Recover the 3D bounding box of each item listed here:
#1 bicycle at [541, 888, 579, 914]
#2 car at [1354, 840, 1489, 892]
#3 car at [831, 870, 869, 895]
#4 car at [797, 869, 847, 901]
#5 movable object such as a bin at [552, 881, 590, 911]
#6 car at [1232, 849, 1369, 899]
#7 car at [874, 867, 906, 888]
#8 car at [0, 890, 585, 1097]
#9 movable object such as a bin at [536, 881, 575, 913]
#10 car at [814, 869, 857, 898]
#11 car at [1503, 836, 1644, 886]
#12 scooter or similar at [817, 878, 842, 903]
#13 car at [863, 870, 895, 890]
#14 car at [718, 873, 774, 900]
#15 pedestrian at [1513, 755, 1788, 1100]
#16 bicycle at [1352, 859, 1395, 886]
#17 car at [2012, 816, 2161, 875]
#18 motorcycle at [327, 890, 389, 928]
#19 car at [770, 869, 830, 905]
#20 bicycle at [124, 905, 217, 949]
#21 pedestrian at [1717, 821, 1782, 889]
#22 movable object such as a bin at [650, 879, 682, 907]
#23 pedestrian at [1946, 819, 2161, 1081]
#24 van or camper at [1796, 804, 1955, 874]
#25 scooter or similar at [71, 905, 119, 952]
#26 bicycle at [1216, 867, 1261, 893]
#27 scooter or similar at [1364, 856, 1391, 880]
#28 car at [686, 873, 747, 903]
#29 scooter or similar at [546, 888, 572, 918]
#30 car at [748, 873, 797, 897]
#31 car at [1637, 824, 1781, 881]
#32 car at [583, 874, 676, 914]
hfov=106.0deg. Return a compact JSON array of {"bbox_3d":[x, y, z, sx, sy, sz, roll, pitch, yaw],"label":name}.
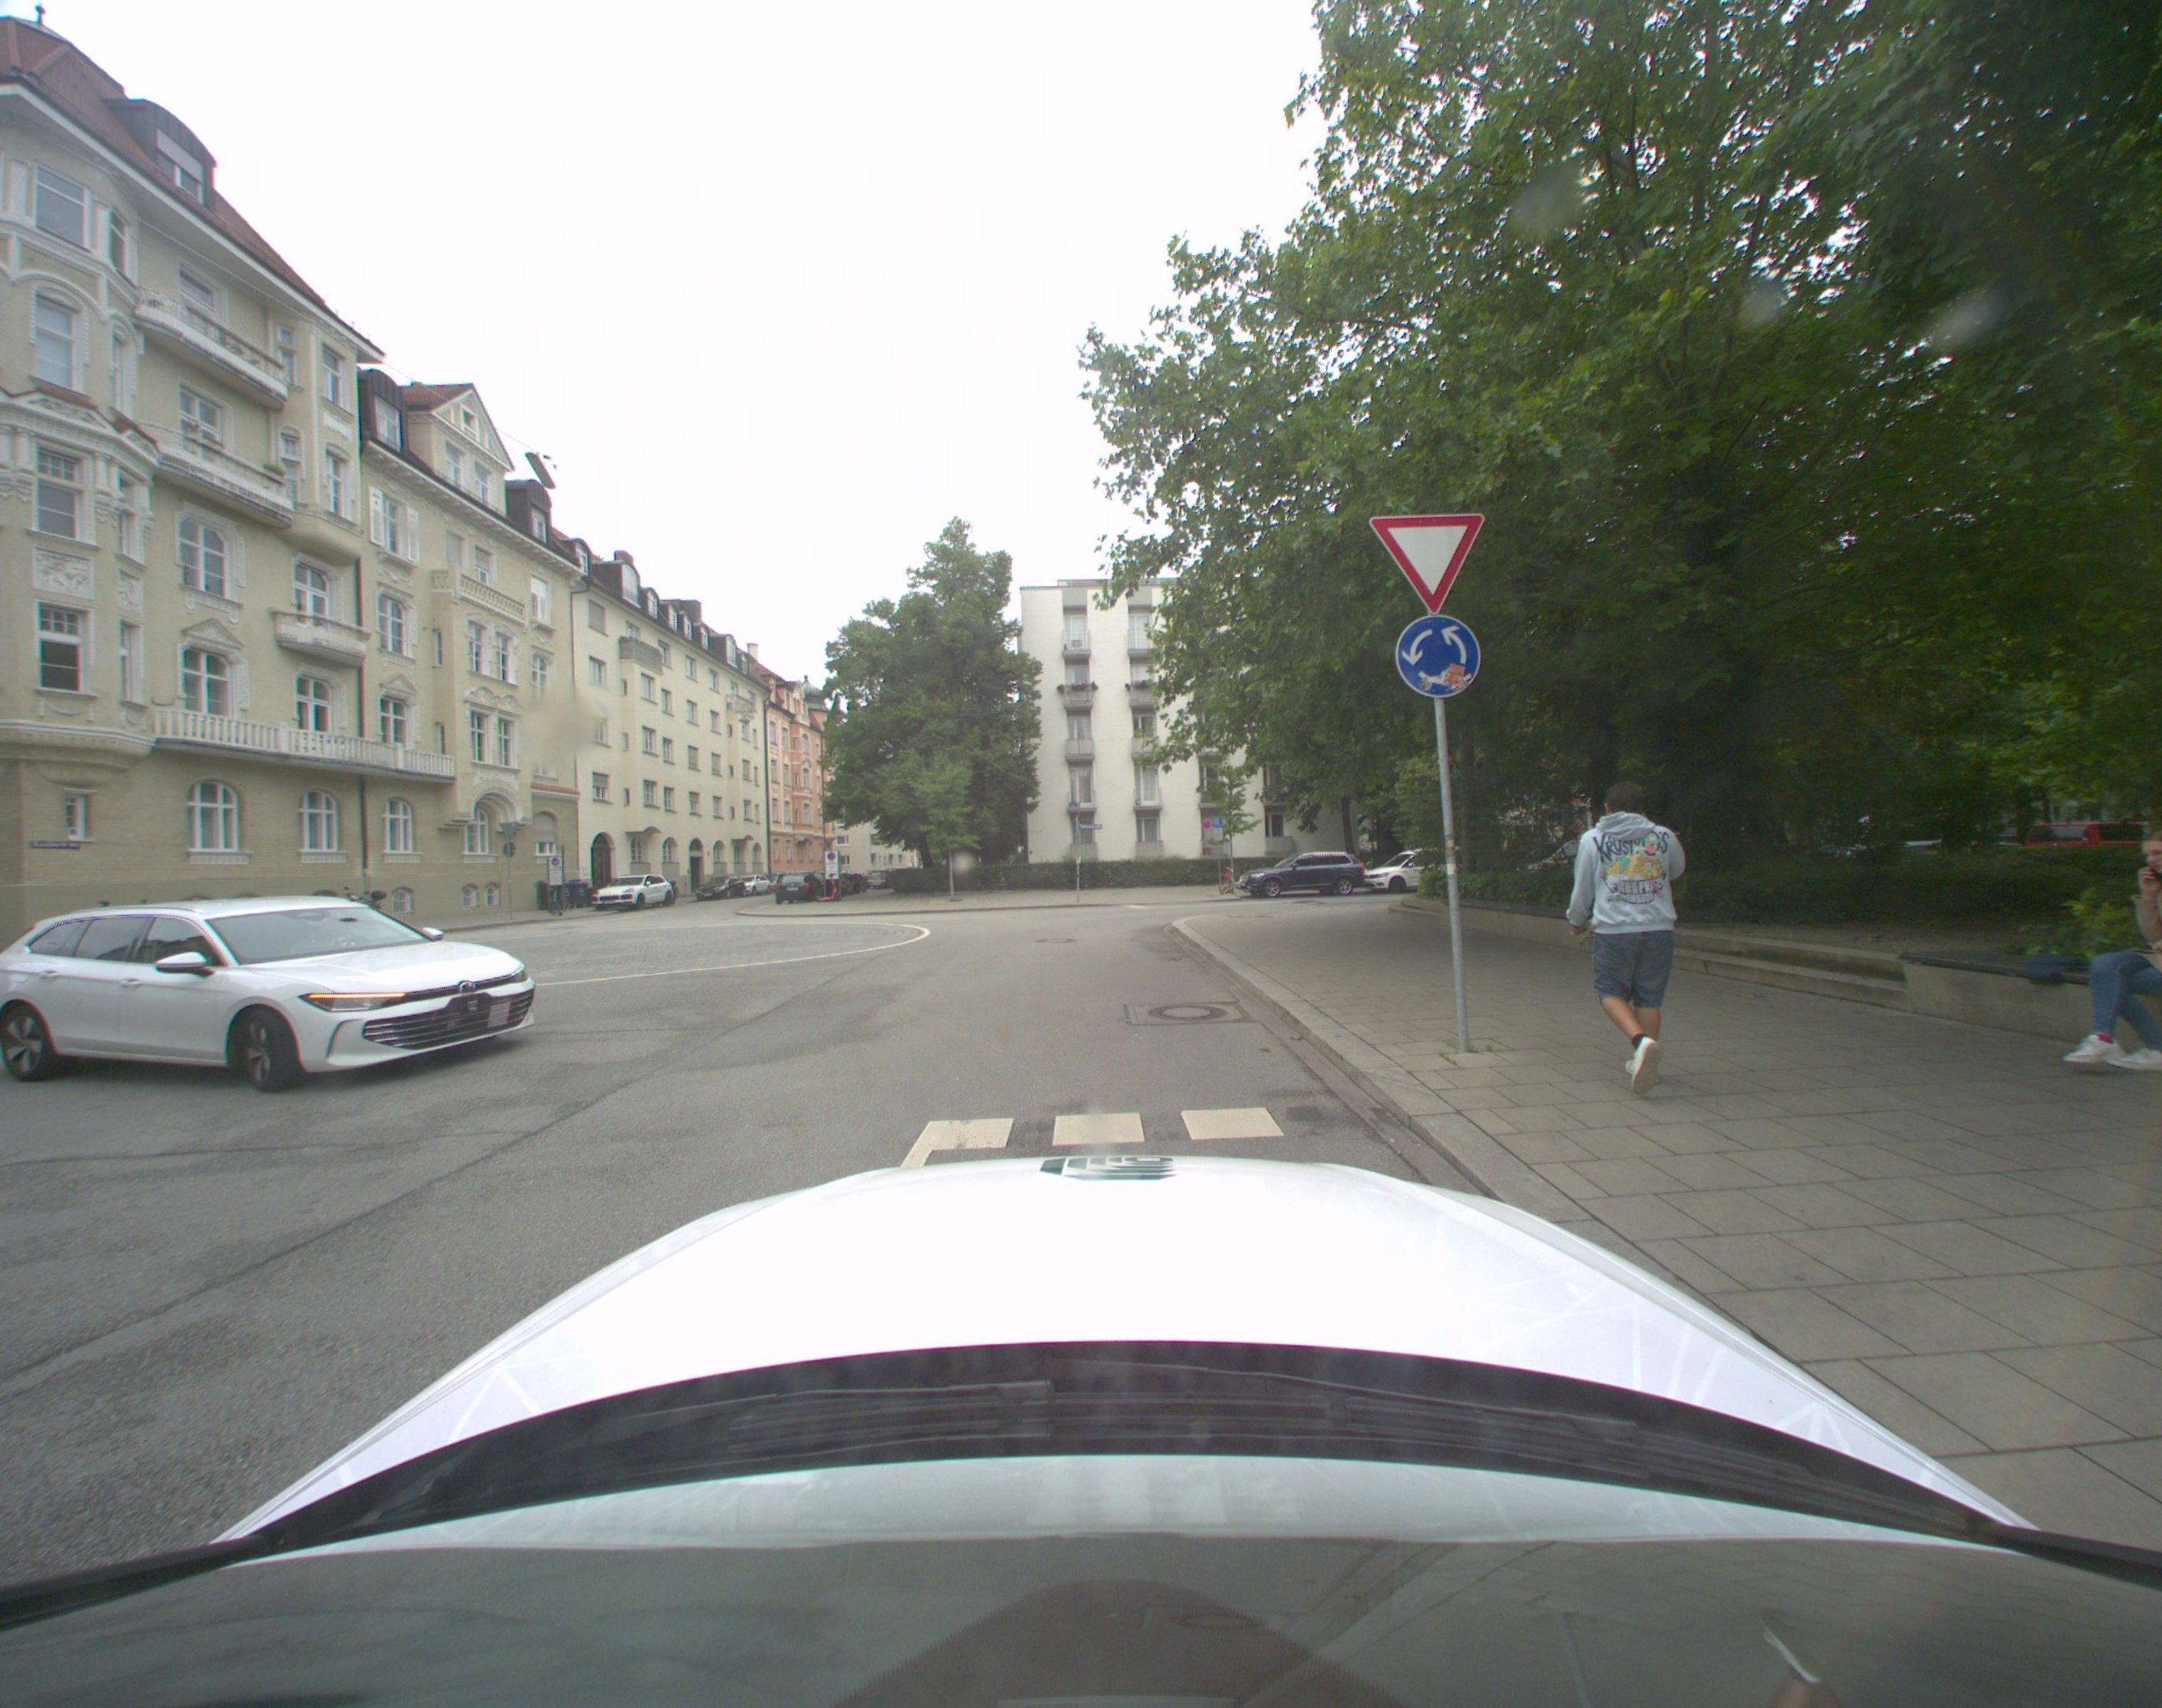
[{"bbox_3d":[-23.507,2.116,36.771,0.561,1.049,1.828,-2,-1,-3],"label":"bicycle"},{"bbox_3d":[13.987,0.509,33.560,4.831,1.918,1.830,-2,-2,-9],"label":"car"},{"bbox_3d":[-15.565,1.871,54.978,1.792,1.505,4.104,-3,0,-8],"label":"car"},{"bbox_3d":[-14.144,1.656,44.716,1.792,1.505,4.223,-3,0,-8],"label":"car"},{"bbox_3d":[-25.454,2.087,40.658,1.088,1.425,1.173,-2,-1,-1],"label":"movable object such as a bin"},{"bbox_3d":[8.764,0.792,32.706,4.893,1.792,1.995,-2,-2,-8],"label":"car"},{"bbox_3d":[-16.530,2.003,70.658,1.830,1.634,4.112,-3,0,-2],"label":"car"},{"bbox_3d":[-7.375,1.153,7.520,4.839,1.448,1.898,-2,-1,15],"label":"car"},{"bbox_3d":[-25.443,2.076,39.461,1.088,1.425,1.173,-2,-1,-1],"label":"movable object such as a bin"},{"bbox_3d":[-14.799,1.751,49.249,1.792,1.505,4.104,-3,0,-8],"label":"car"},{"bbox_3d":[20.877,0.302,34.588,5.194,1.933,1.885,-2,-2,-12],"label":"car"},{"bbox_3d":[-11.393,1.642,36.875,1.005,1.088,0.387,-1,-1,-30],"label":"scooter or similar"},{"bbox_3d":[-16.327,2.081,66.052,1.833,1.505,4.107,-3,0,-6],"label":"car"},{"bbox_3d":[-22.429,2.148,54.655,1.970,1.581,4.405,-2,-1,-1],"label":"car"},{"bbox_3d":[3.233,0.394,4.767,0.869,1.771,1.054,-2,-1,8],"label":"pedestrian"},{"bbox_3d":[12.764,0.815,35.584,0.539,1.149,1.813,-2,-1,-30],"label":"bicycle"},{"bbox_3d":[35.306,-0.292,28.120,4.699,1.839,1.990,-2,-2,-11],"label":"car"},{"bbox_3d":[-25.383,1.911,28.636,0.597,1.176,1.828,-2,-1,-3],"label":"motorcycle"},{"bbox_3d":[-13.538,1.557,39.500,1.817,1.505,4.410,-3,0,-8],"label":"car"},{"bbox_3d":[-25.273,2.016,22.649,0.561,1.049,1.828,-2,-1,-3],"label":"bicycle"},{"bbox_3d":[18.802,0.034,22.916,1.048,1.831,0.874,-2,-1,-9],"label":"pedestrian"},{"bbox_3d":[-22.297,2.096,43.743,1.088,1.425,1.173,-2,-1,-1],"label":"movable object such as a bin"},{"bbox_3d":[5.894,0.483,4.605,1.005,1.338,0.877,-2,-1,4],"label":"pedestrian"},{"bbox_3d":[36.482,-0.670,37.445,5.991,2.945,2.000,-2,-2,-10],"label":"van or camper"},{"bbox_3d":[-24.950,1.865,20.620,0.469,1.115,1.202,-1,-1,-35],"label":"scooter or similar"},{"bbox_3d":[6.754,1.120,35.016,1.827,1.049,0.489,-2,-1,-14],"label":"bicycle"},{"bbox_3d":[15.190,0.722,41.703,1.209,1.193,0.399,-2,-1,-5],"label":"scooter or similar"},{"bbox_3d":[-22.183,2.041,49.782,1.973,1.616,4.703,-2,-1,-6],"label":"car"},{"bbox_3d":[-21.804,2.044,34.019,1.199,1.193,0.471,-2,-1,36],"label":"scooter or similar"},{"bbox_3d":[-22.589,2.242,59.815,1.970,1.581,4.405,-2,-1,-1],"label":"car"},{"bbox_3d":[27.698,-0.053,35.986,5.226,2.273,1.946,-2,-2,-10],"label":"car"},{"bbox_3d":[-21.613,1.874,39.245,1.971,1.701,4.834,-2,-1,-3],"label":"car"}]
